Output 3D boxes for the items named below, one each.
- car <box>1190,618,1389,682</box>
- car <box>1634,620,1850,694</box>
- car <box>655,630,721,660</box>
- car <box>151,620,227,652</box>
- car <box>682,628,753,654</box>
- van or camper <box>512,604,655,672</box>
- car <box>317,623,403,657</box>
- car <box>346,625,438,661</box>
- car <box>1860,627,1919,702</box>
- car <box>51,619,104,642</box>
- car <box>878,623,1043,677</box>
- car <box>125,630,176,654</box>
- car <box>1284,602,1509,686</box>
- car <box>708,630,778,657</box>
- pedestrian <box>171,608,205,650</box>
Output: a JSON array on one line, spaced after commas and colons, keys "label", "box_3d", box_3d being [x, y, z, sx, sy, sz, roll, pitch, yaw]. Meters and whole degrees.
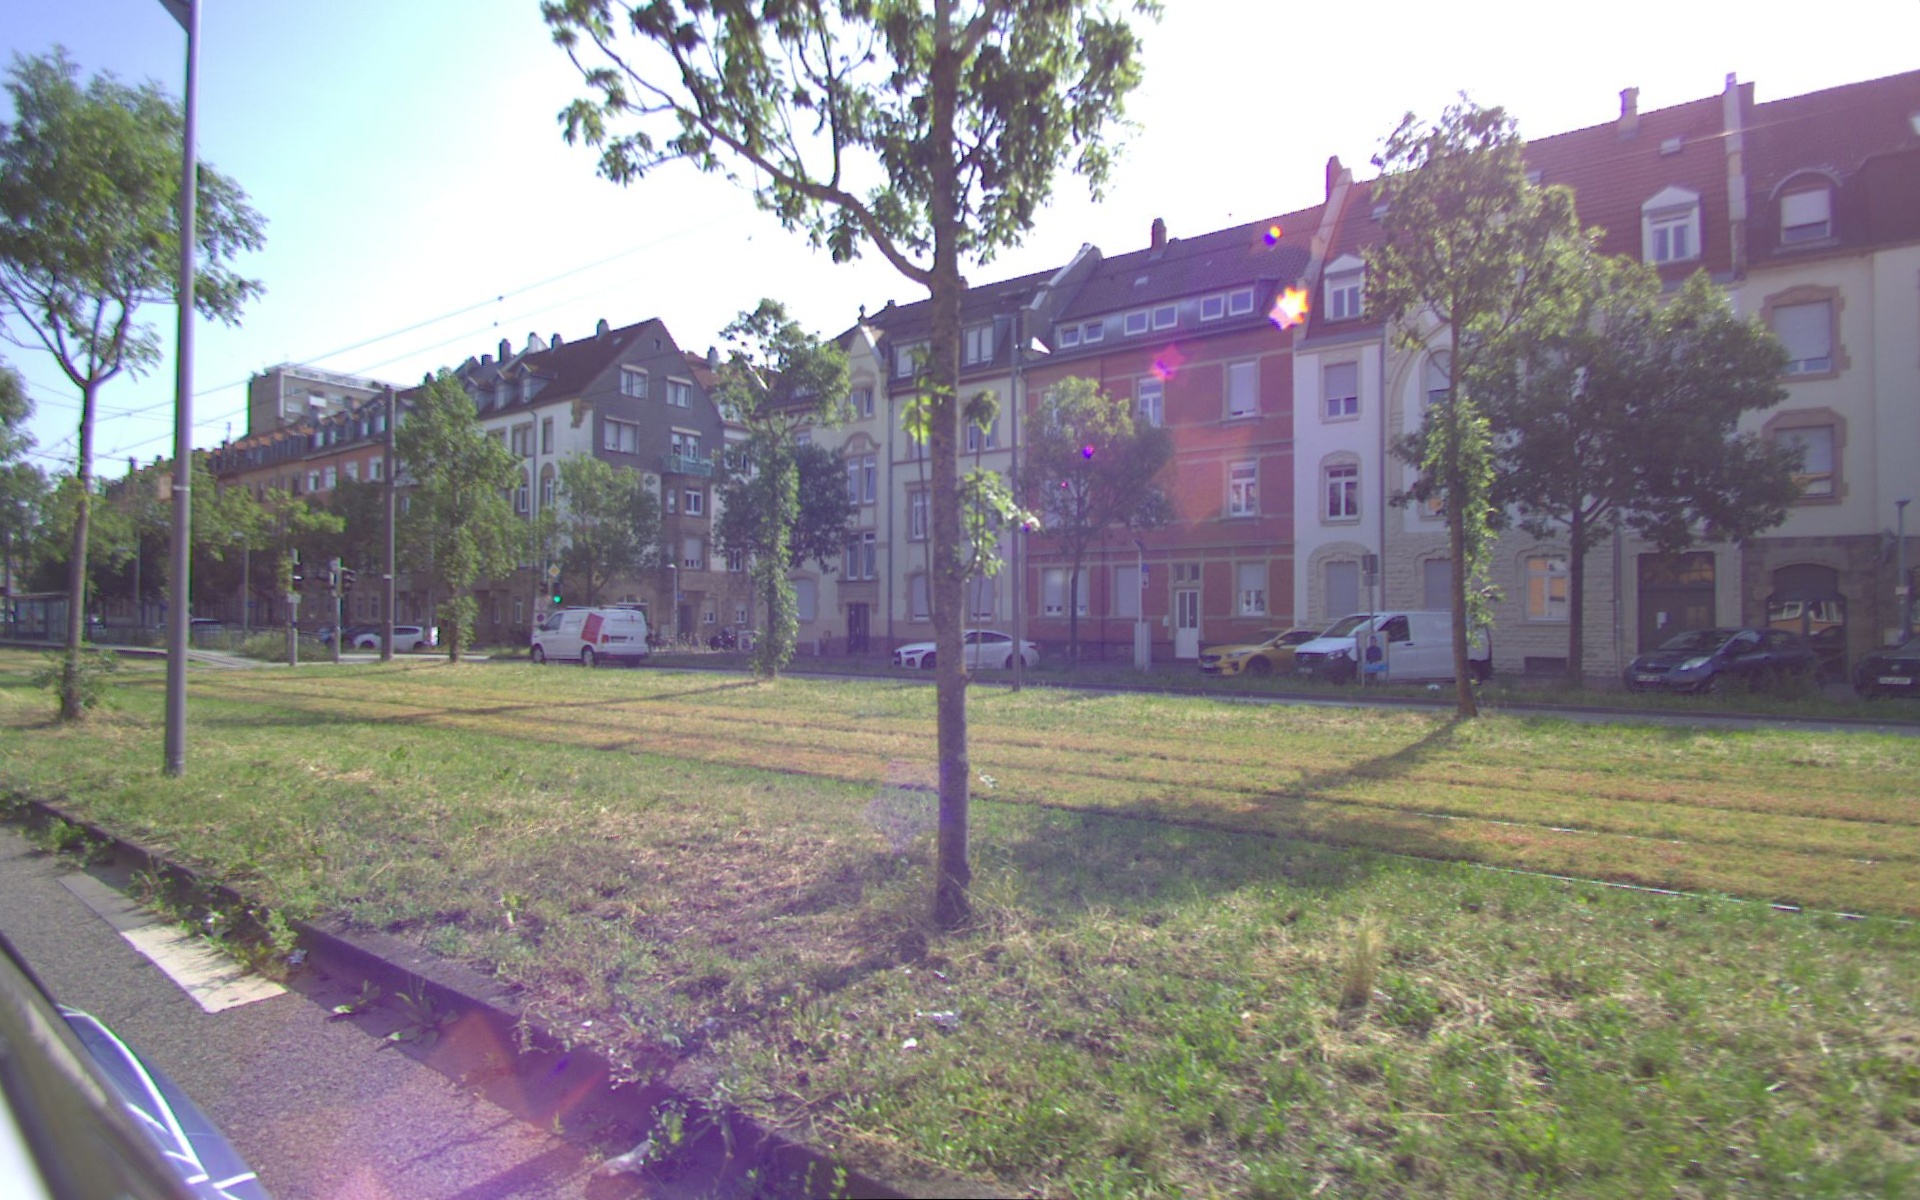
[{"label": "car", "box_3d": [8.399, 1.219, 25.847, 4.619, 1.358, 1.863, -1, 1, -19]}, {"label": "car", "box_3d": [15.146, 1.074, 19.632, 3.623, 1.251, 1.530, -1, -2, -19]}, {"label": "car", "box_3d": [-17.016, 2.786, 63.406, 1.602, 1.595, 3.779, 0, 1, 37]}, {"label": "car", "box_3d": [-38.974, 1.812, 51.122, 4.569, 1.544, 1.817, 0, -3, 37]}, {"label": "car", "box_3d": [-13.321, 2.243, 55.510, 3.993, 1.309, 1.652, 0, -2, 37]}, {"label": "van or camper", "box_3d": [-12.961, 1.300, 34.670, 5.342, 2.113, 1.934, -2, 0, 36]}, {"label": "car", "box_3d": [-34.444, 2.292, 58.203, 3.931, 1.739, 2.006, -1, 1, -19]}, {"label": "car", "box_3d": [-30.388, 2.285, 54.273, 3.931, 1.739, 2.006, -1, 1, -19]}, {"label": "car", "box_3d": [18.023, 1.074, 17.796, 3.623, 1.251, 1.667, -1, -3, -19]}, {"label": "car", "box_3d": [-59.752, 2.063, 68.517, 4.416, 1.451, 1.755, 0, -3, 37]}, {"label": "car", "box_3d": [0.001, 1.567, 31.764, 4.695, 1.496, 2.030, 2, -1, -21]}, {"label": "car", "box_3d": [-53.383, 2.760, 66.720, 3.993, 1.526, 1.652, 0, -2, 37]}, {"label": "car", "box_3d": [10.337, 0.964, 23.997, 4.867, 1.739, 1.863, -1, 1, -19]}, {"label": "car", "box_3d": [-12.239, 2.437, 56.983, 3.993, 1.423, 1.652, 0, -2, 37]}, {"label": "pedestrian", "box_3d": [-31.292, 1.162, 41.034, 0.851, 1.667, 0.875, -1, -2, 37]}]
